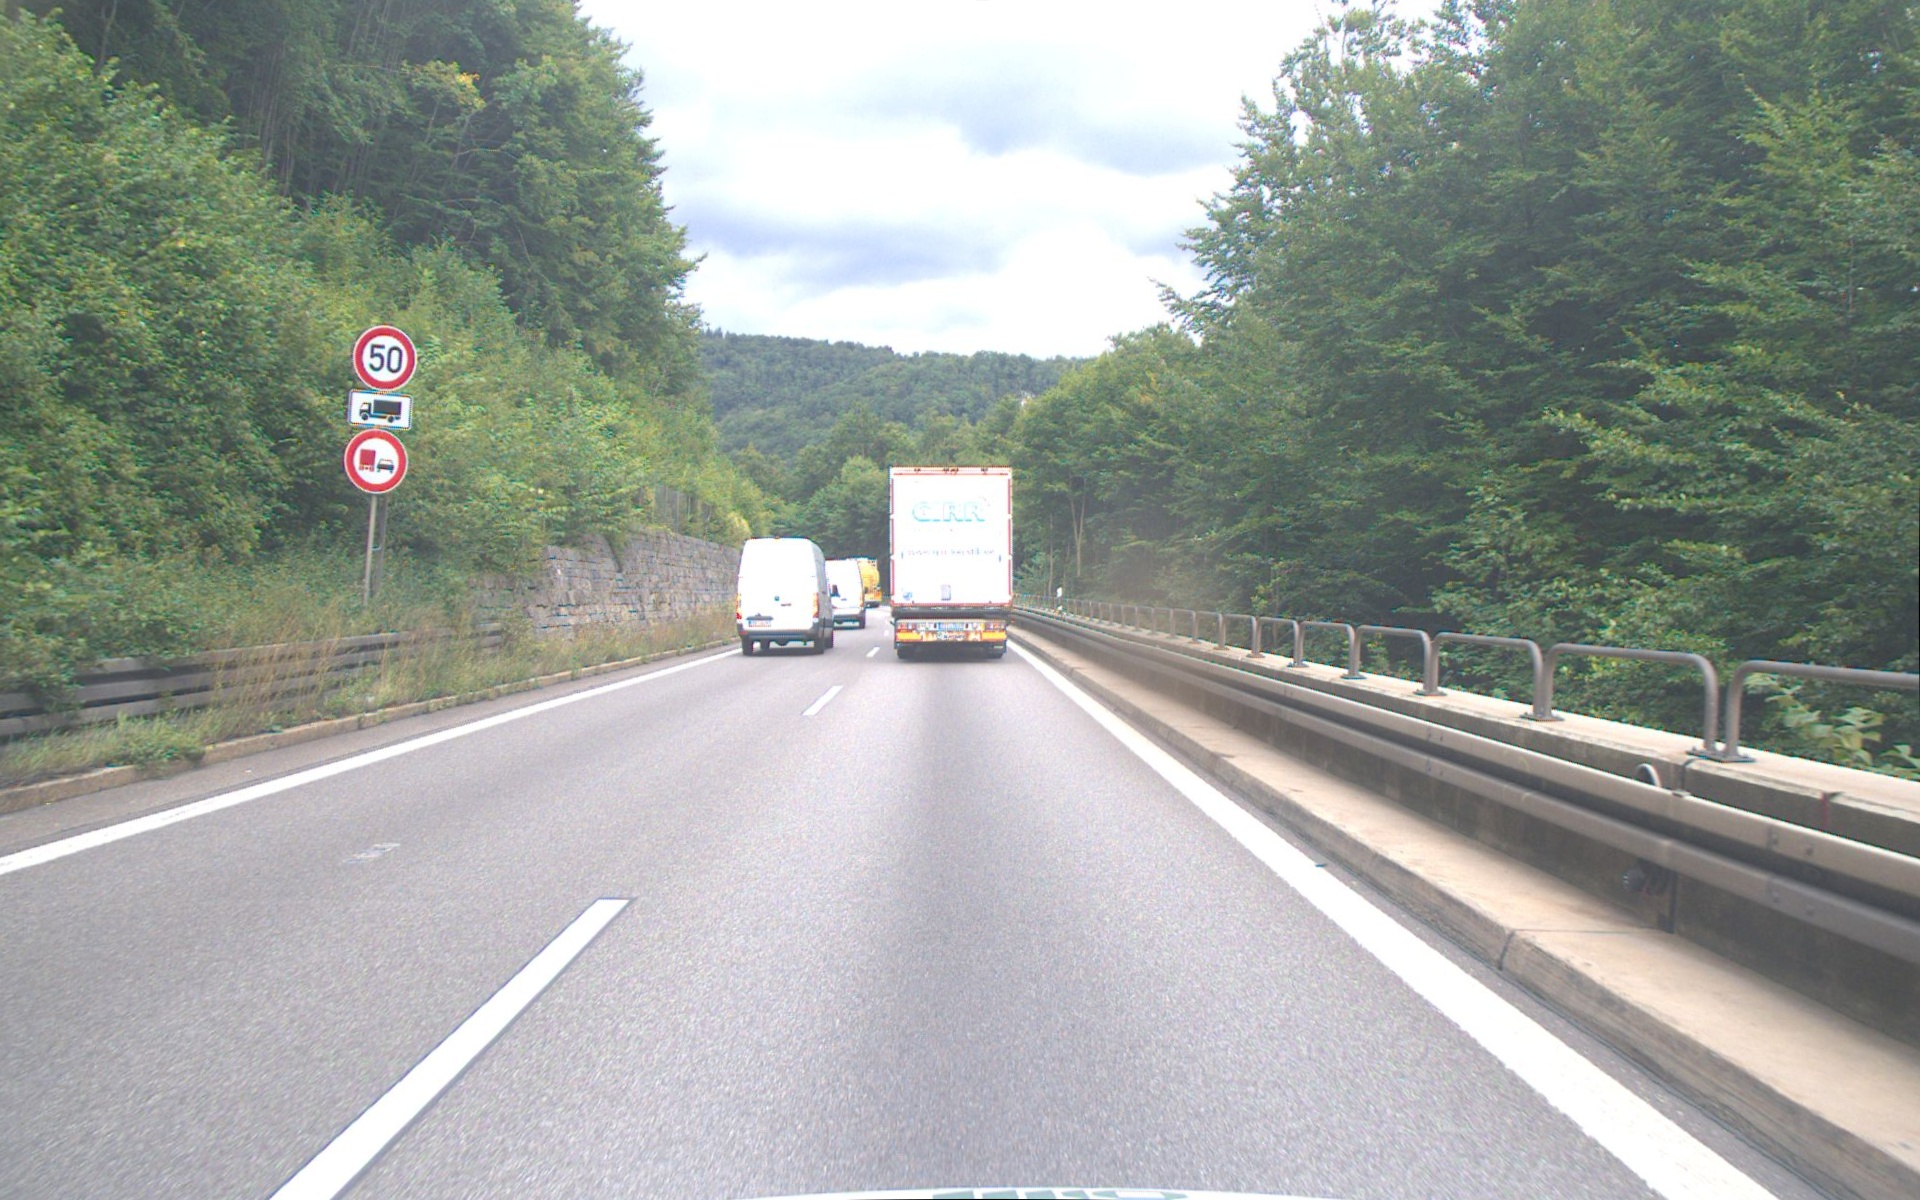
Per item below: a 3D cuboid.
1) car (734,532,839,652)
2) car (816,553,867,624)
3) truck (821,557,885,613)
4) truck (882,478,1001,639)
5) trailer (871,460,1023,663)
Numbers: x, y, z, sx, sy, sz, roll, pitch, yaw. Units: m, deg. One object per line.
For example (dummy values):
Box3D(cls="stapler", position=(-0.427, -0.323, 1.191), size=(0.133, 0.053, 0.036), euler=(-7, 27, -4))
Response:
Box3D(cls="car", position=(-4.214, -0.205, 41.185), size=(1.948, 2.719, 6.935), euler=(0, 0, -1))
Box3D(cls="car", position=(-4.745, -0.464, 67.003), size=(1.901, 2.719, 5.988), euler=(0, 0, -3))
Box3D(cls="truck", position=(-8.521, -1.273, 129.949), size=(3.004, 4.055, 13.659), euler=(-2, 2, -12))
Box3D(cls="truck", position=(-0.544, -1.170, 46.014), size=(2.995, 4.055, 7.186), euler=(1, 2, -1))
Box3D(cls="trailer", position=(-0.388, -0.964, 39.567), size=(2.995, 4.055, 12.135), euler=(1, 2, -1))
